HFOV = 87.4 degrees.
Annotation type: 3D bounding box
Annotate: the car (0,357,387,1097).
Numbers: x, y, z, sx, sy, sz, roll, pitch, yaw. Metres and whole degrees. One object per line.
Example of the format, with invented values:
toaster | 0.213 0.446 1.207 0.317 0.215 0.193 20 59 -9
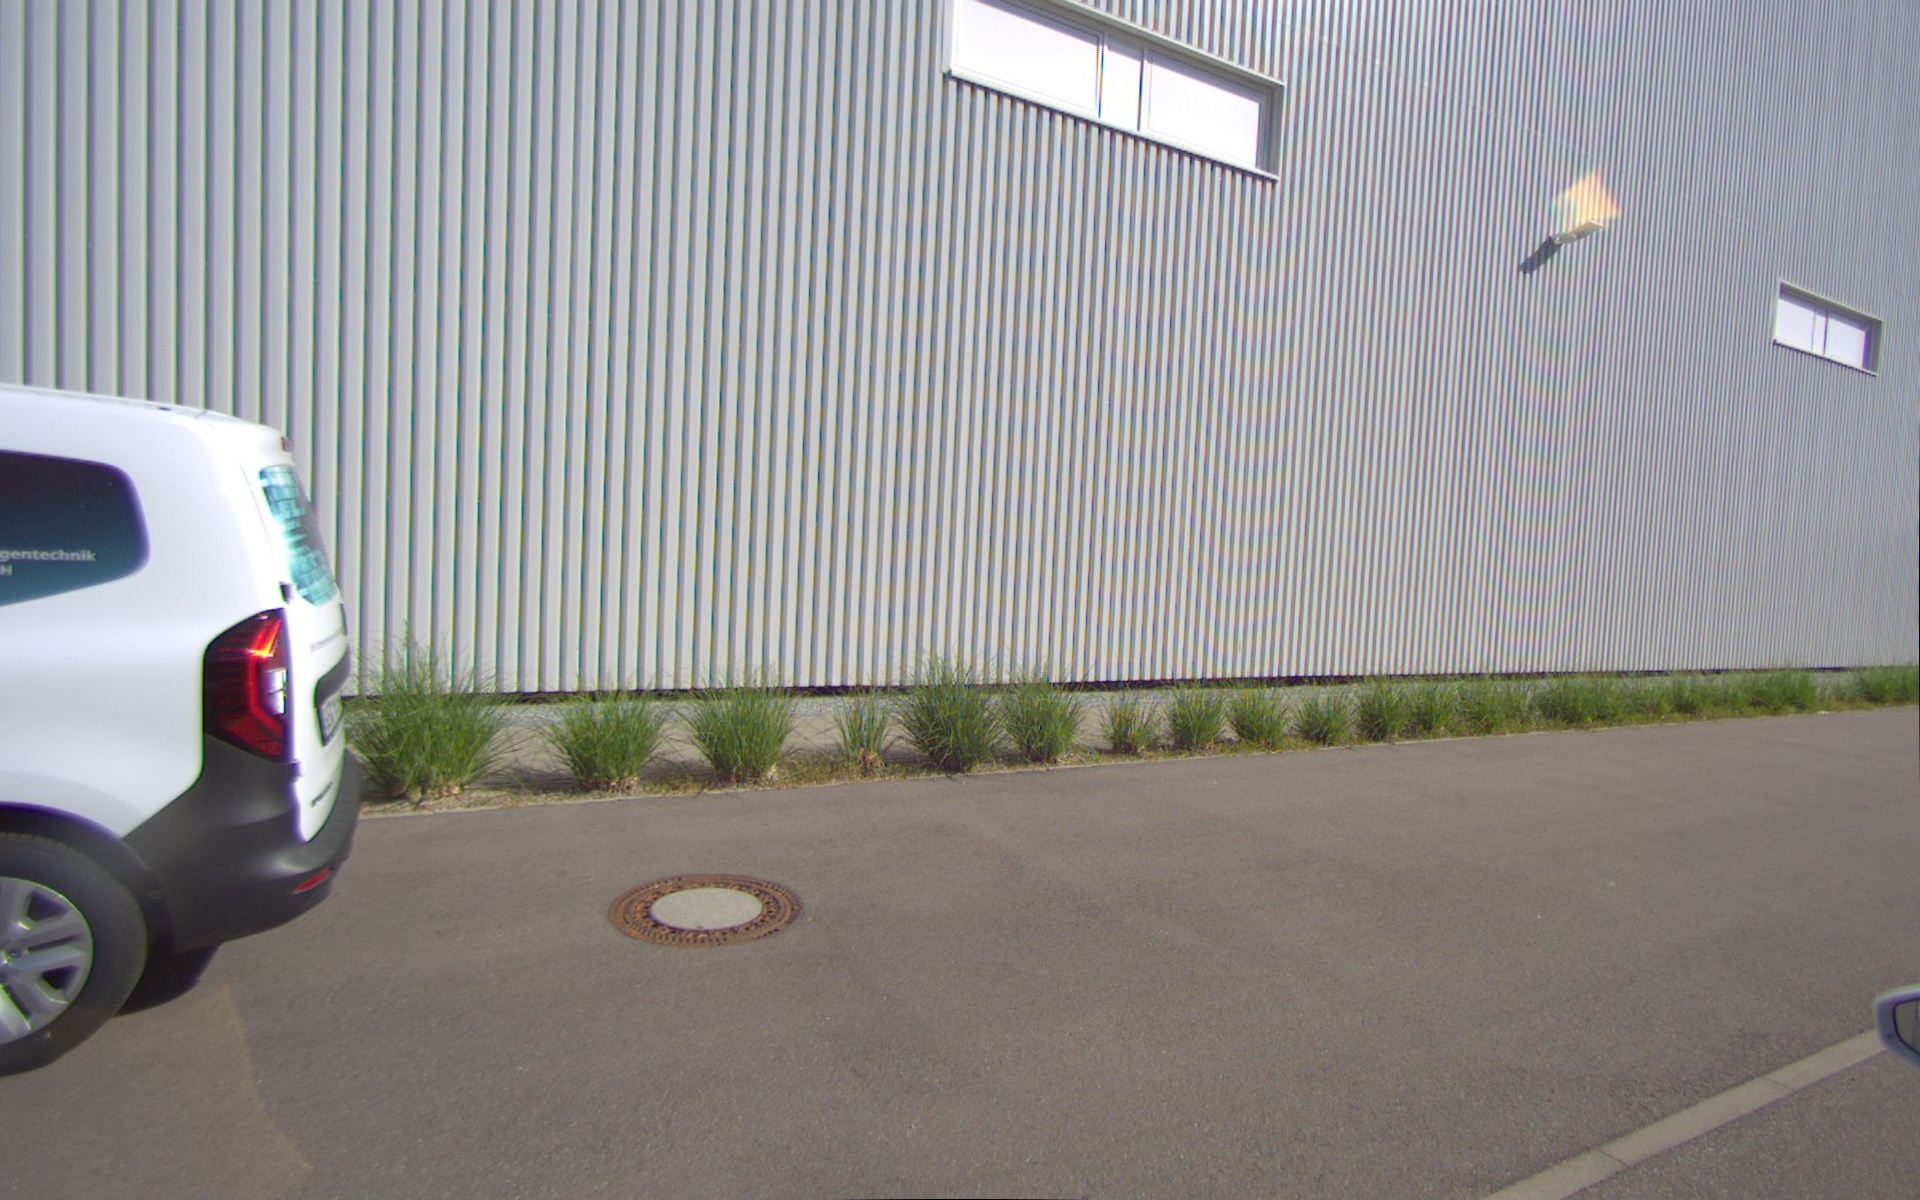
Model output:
car | -4.010 0.226 2.640 4.307 1.870 1.881 1 4 -30
